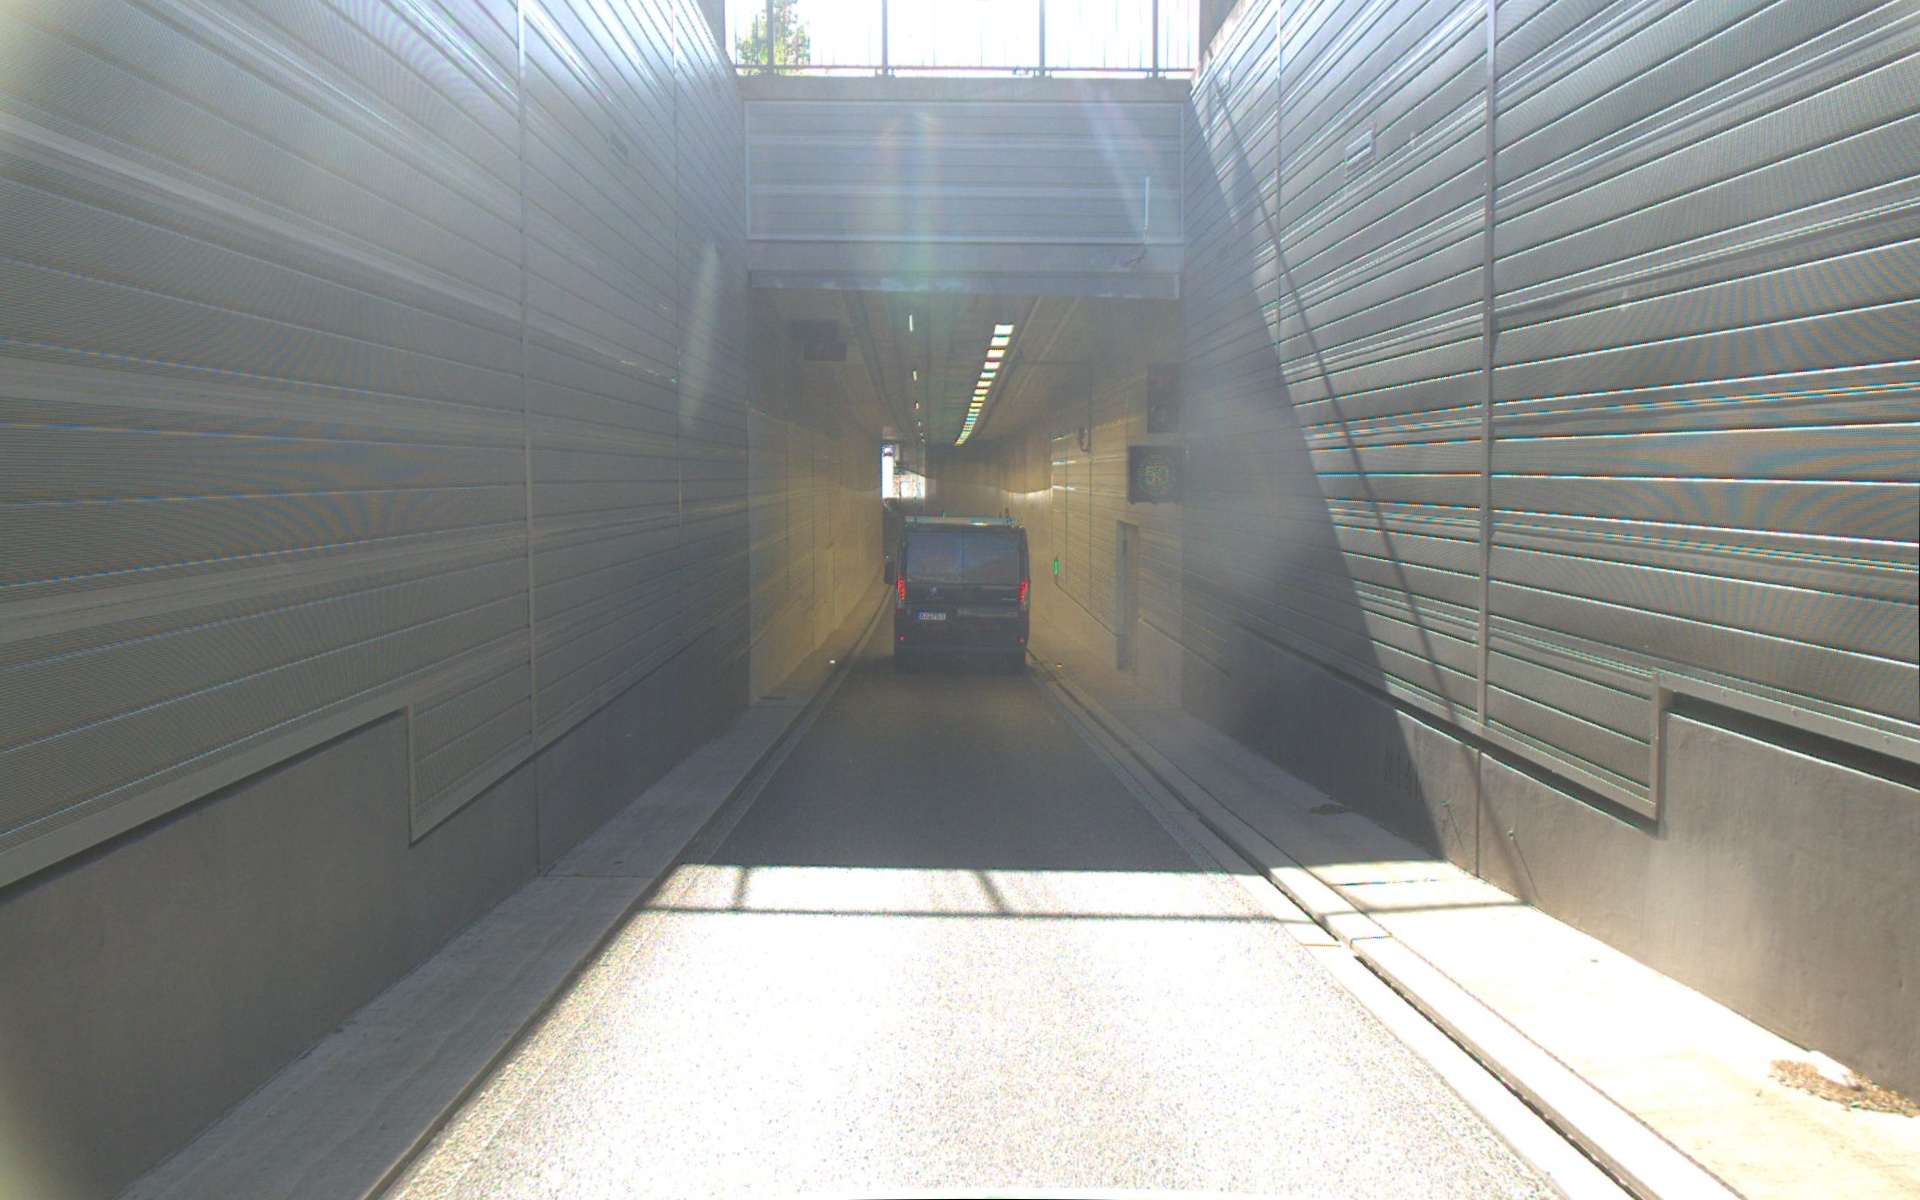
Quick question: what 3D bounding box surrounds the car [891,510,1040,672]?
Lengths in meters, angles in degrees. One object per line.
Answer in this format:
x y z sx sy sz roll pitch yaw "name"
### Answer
0.053 -0.214 26.101 2.114 2.305 4.637 1 2 -1 "car"
